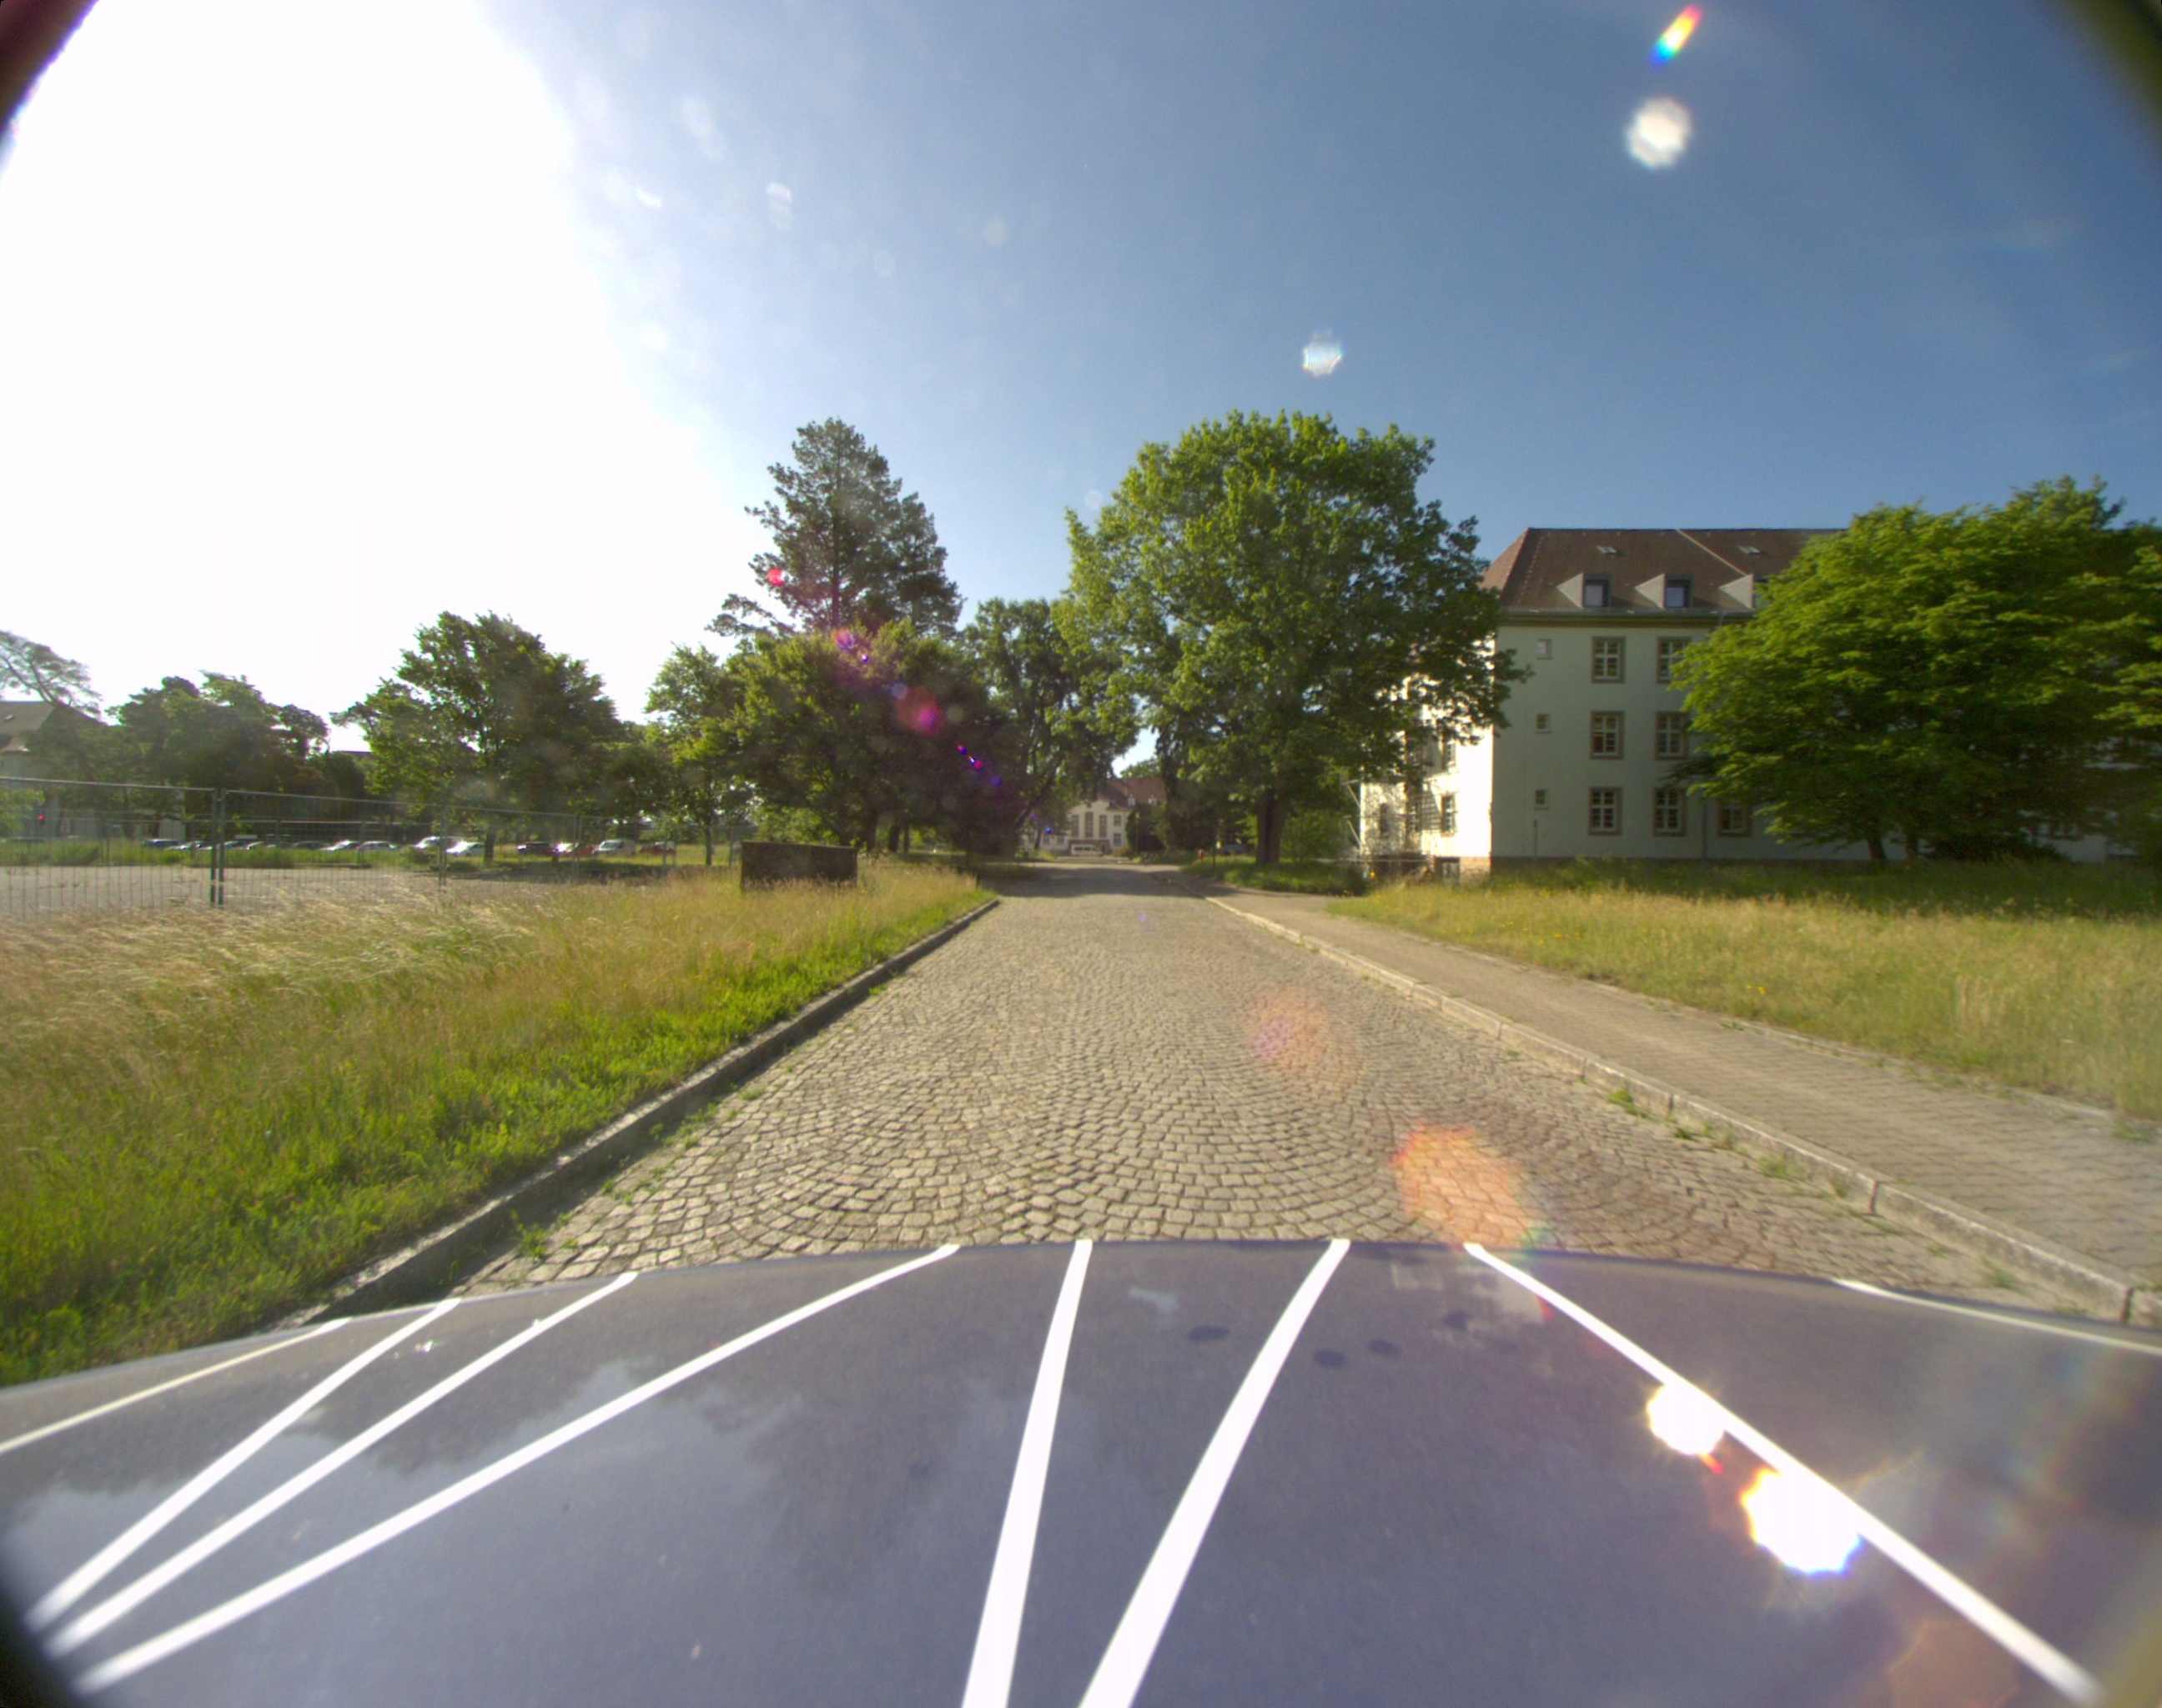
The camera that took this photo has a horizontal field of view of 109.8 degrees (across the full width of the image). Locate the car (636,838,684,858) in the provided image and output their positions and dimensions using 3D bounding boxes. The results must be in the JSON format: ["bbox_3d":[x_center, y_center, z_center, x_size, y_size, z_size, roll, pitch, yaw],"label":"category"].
[{"bbox_3d":[-37.178,-0.550,67.202,1.999,1.642,3.999,1,1,0],"label":"car"}]

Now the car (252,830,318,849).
[{"bbox_3d":[-70.067,-1.258,66.972,1.741,1.649,3.851,1,1,2],"label":"car"}]

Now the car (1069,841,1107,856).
[{"bbox_3d":[1.240,-0.993,130.265,6.445,2.452,2.463,1,1,1],"label":"car"}]

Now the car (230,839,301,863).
[{"bbox_3d":[-72.552,-0.289,67.708,1.999,2.002,3.999,0,1,-1],"label":"car"}]

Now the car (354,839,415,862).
[{"bbox_3d":[-61.515,-0.308,67.185,1.741,2.002,3.851,1,1,2],"label":"car"}]

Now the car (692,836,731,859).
[{"bbox_3d":[-33.055,-0.559,68.074,1.741,2.002,3.619,1,1,0],"label":"car"}]

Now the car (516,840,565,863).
[{"bbox_3d":[-47.537,-0.254,66.868,1.741,2.002,3.619,1,1,0],"label":"car"}]

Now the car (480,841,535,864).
[{"bbox_3d":[-51.453,-0.133,68.242,1.999,2.002,3.999,0,1,-1],"label":"car"}]

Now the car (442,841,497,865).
[{"bbox_3d":[-53.745,-0.140,66.844,1.741,2.002,3.850,1,1,0],"label":"car"}]

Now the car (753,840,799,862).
[{"bbox_3d":[-26.786,-0.277,66.950,2.245,1.828,4.349,1,1,1],"label":"car"}]

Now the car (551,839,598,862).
[{"bbox_3d":[-44.729,-0.316,67.182,1.741,2.002,3.619,1,1,0],"label":"car"}]

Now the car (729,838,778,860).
[{"bbox_3d":[-29.142,-0.446,67.777,2.245,1.828,4.350,1,1,4],"label":"car"}]

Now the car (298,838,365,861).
[{"bbox_3d":[-66.154,-0.413,67.168,1.999,2.002,3.999,0,1,-1],"label":"car"}]

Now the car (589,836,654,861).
[{"bbox_3d":[-40.954,-0.577,67.918,1.998,2.003,6.032,-1,2,1],"label":"car"}]
